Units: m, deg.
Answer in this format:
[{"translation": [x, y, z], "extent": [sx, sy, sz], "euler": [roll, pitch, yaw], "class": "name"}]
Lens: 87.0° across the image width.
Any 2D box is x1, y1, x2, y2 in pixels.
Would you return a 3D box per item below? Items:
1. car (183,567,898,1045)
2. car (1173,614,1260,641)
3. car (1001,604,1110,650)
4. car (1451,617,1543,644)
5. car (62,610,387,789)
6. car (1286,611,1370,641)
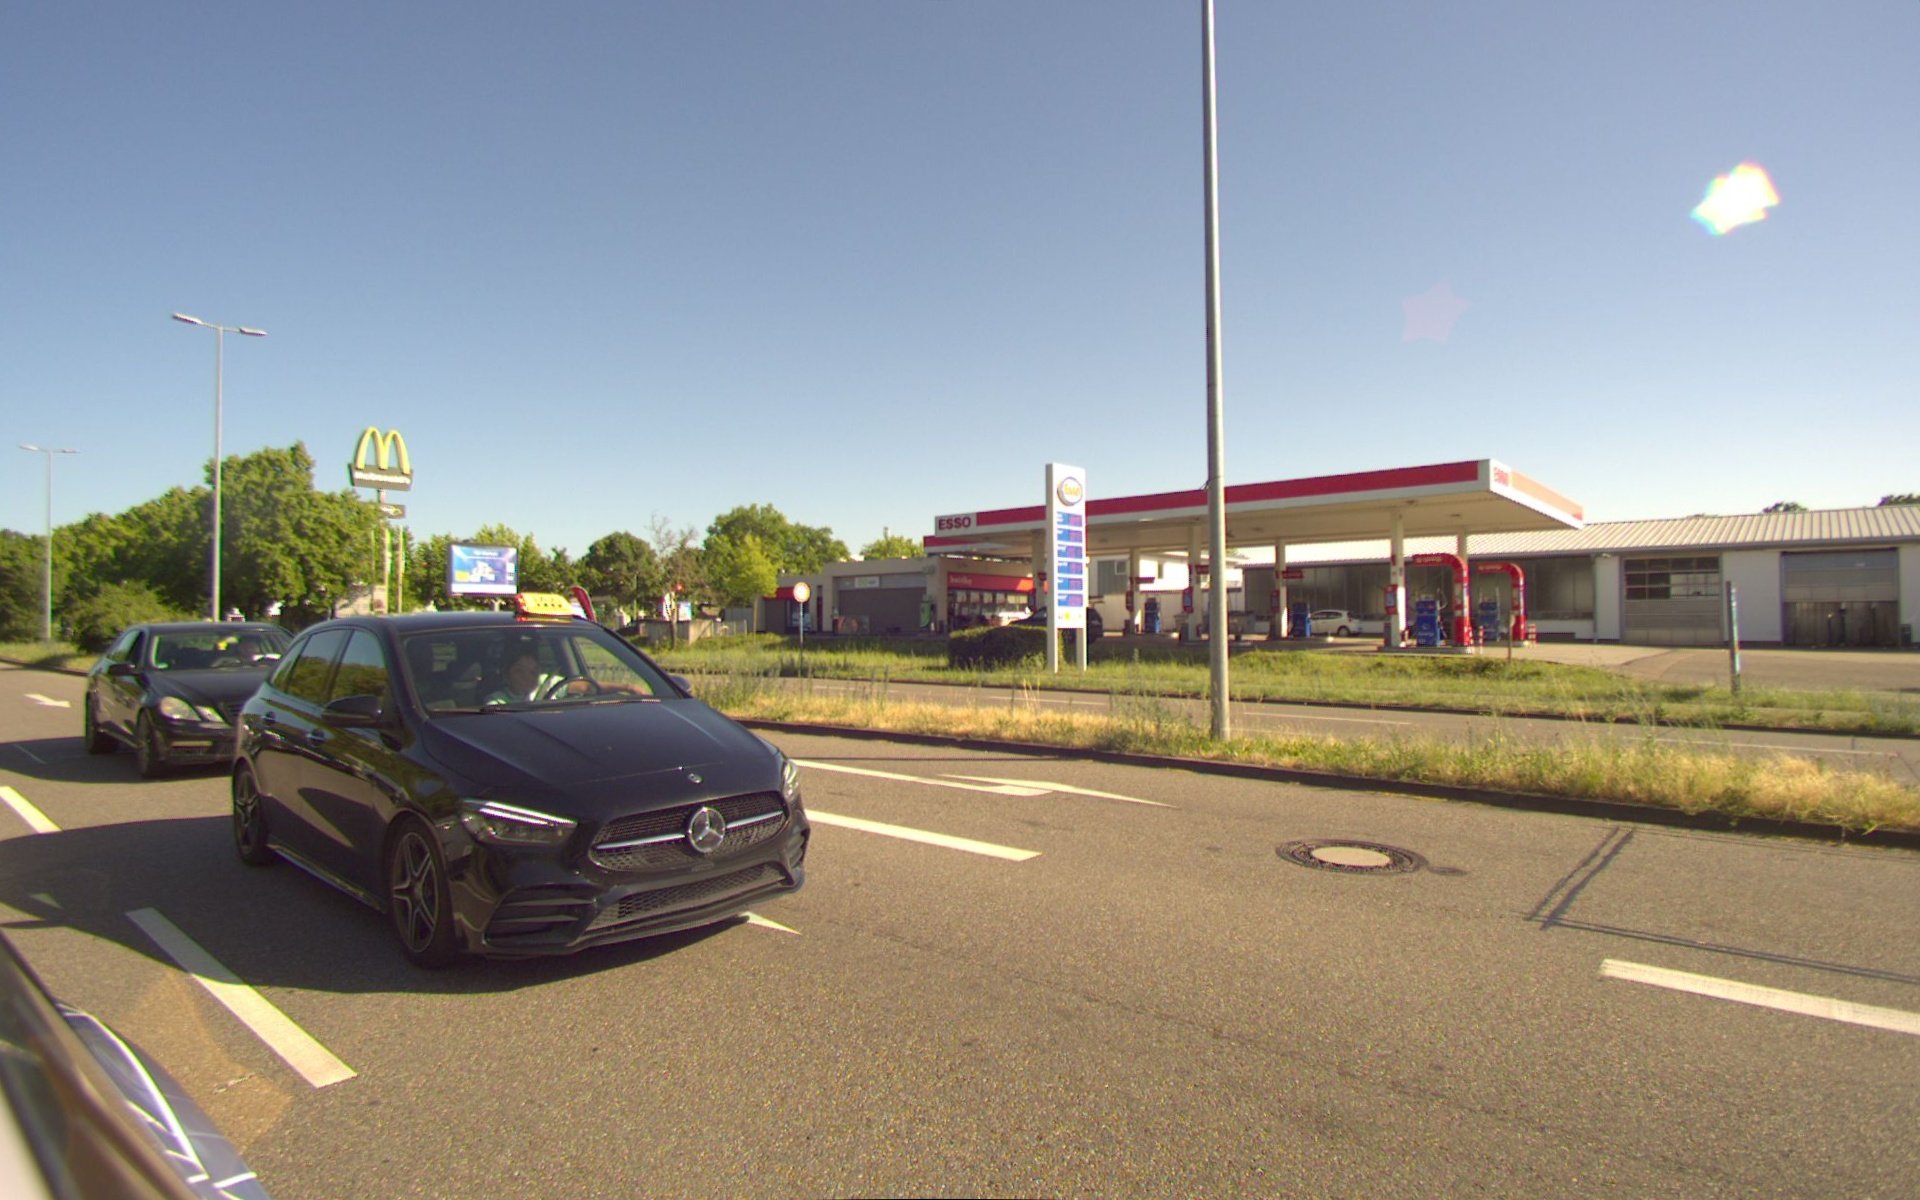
[{"translation": [-2.609, 0.747, 5.596], "extent": [4.579, 1.614, 1.765], "euler": [-2, -1, 40], "class": "car"}, {"translation": [15.122, 1.601, 59.796], "extent": [4.540, 1.477, 1.973], "euler": [-1, 0, 41], "class": "car"}, {"translation": [3.961, 1.131, 42.361], "extent": [4.322, 1.739, 1.783], "euler": [-1, 2, 43], "class": "car"}, {"translation": [26.204, 1.460, 49.442], "extent": [3.729, 1.196, 1.658], "euler": [-1, 0, 41], "class": "car"}, {"translation": [-8.130, 0.895, 11.019], "extent": [4.461, 1.521, 1.928], "euler": [-1, 0, 41], "class": "car"}, {"translation": [19.963, 1.376, 54.943], "extent": [3.855, 1.500, 1.973], "euler": [-1, 0, 41], "class": "car"}]
